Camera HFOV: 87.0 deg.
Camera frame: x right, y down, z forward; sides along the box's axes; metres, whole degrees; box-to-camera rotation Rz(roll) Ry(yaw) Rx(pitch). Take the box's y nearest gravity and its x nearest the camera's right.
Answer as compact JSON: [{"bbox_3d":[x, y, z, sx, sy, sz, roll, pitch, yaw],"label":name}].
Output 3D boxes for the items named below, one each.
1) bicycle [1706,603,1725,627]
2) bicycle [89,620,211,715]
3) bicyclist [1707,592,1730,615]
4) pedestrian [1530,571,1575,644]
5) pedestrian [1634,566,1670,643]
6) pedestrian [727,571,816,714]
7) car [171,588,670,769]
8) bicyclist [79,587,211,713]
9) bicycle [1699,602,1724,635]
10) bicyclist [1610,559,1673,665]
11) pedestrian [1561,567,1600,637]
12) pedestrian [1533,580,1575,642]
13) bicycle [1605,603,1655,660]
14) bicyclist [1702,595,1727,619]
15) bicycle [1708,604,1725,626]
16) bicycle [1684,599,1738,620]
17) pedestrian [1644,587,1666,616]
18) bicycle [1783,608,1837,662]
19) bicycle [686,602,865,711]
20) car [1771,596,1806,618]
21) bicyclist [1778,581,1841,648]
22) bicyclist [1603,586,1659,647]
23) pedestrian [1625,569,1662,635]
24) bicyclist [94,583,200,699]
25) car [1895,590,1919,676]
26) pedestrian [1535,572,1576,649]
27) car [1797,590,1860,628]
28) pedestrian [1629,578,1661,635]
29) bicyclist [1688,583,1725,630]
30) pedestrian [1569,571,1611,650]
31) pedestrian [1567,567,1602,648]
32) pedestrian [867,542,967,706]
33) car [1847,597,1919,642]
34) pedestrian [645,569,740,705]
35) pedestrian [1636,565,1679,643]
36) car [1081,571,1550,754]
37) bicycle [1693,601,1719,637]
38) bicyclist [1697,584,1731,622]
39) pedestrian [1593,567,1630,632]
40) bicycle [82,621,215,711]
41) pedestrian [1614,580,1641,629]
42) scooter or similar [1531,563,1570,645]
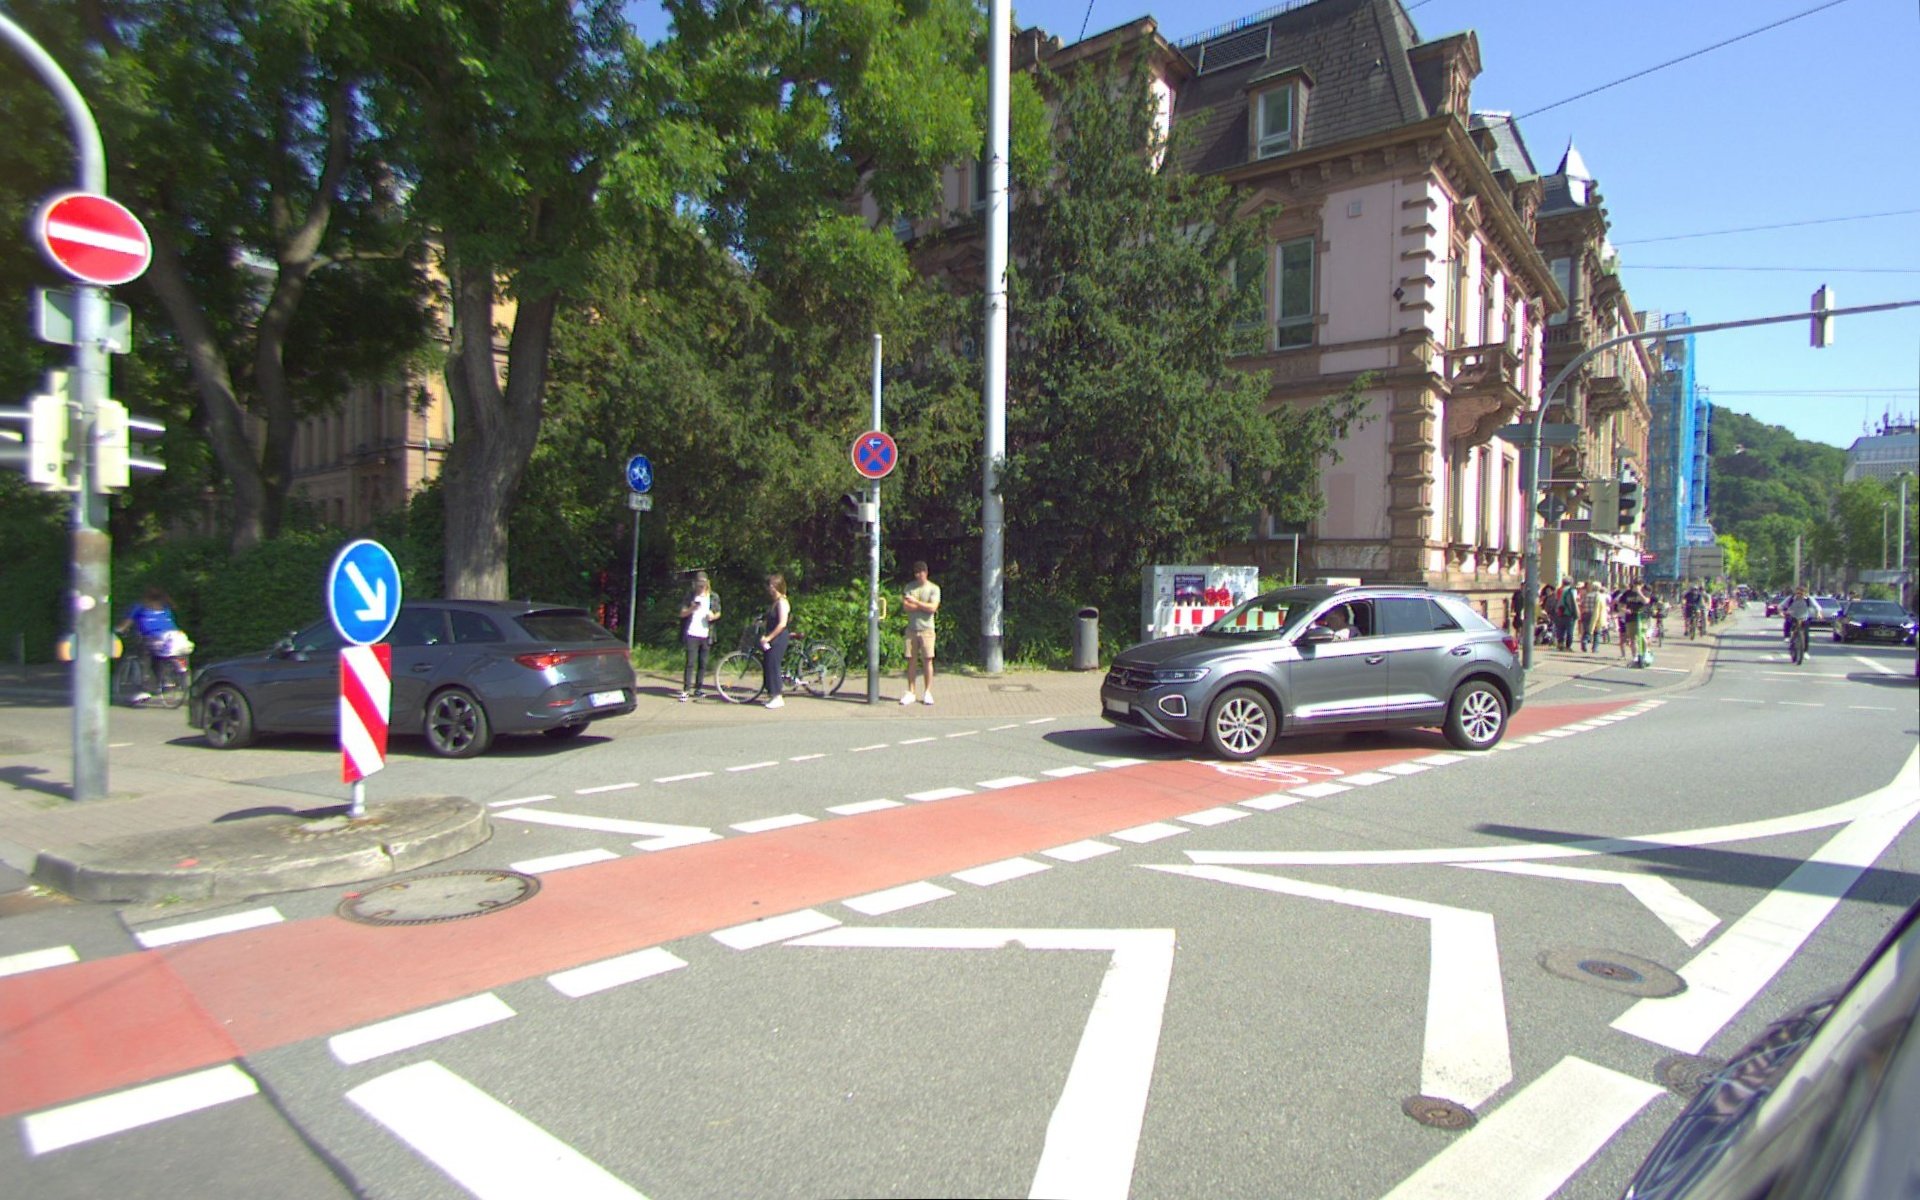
[{"bbox_3d":[35.228,0.685,47.189,0.640,1.096,2.463,3,1,37],"label":"bicycle"},{"bbox_3d":[-11.636,0.929,14.524,1.986,1.241,0.710,0,-1,31],"label":"bicycle"},{"bbox_3d":[38.519,0.180,51.392,0.908,1.096,1.216,3,1,37],"label":"bicyclist"},{"bbox_3d":[15.567,0.190,26.577,0.810,1.815,0.804,5,3,37],"label":"pedestrian"},{"bbox_3d":[19.060,0.119,27.875,0.659,2.038,0.690,5,2,37],"label":"pedestrian"},{"bbox_3d":[-2.452,0.518,13.220,0.673,1.730,0.881,3,6,39],"label":"pedestrian"},{"bbox_3d":[-5.337,0.675,10.220,4.222,1.509,1.991,1,0,14],"label":"car"},{"bbox_3d":[-11.629,0.674,14.453,1.080,1.699,1.159,0,-1,31],"label":"bicyclist"},{"bbox_3d":[26.080,0.622,35.117,0.640,1.096,2.463,3,1,37],"label":"bicycle"},{"bbox_3d":[13.617,0.229,20.232,0.939,2.039,0.819,3,1,37],"label":"bicyclist"},{"bbox_3d":[18.672,0.051,30.439,0.810,2.038,0.804,5,3,37],"label":"pedestrian"},{"bbox_3d":[16.430,0.300,28.007,0.810,1.622,0.804,5,3,37],"label":"pedestrian"},{"bbox_3d":[14.395,0.646,21.722,0.776,1.116,2.111,3,1,36],"label":"bicycle"},{"bbox_3d":[35.183,0.309,47.192,0.908,1.082,1.216,3,1,37],"label":"bicyclist"},{"bbox_3d":[38.443,0.744,51.419,0.640,1.096,2.463,3,1,37],"label":"bicycle"},{"bbox_3d":[43.918,0.524,59.208,2.488,1.096,0.634,3,2,43],"label":"bicycle"},{"bbox_3d":[40.104,0.078,58.389,0.908,1.620,1.216,3,1,37],"label":"pedestrian"},{"bbox_3d":[18.782,0.745,22.405,0.640,1.096,2.465,3,1,35],"label":"bicycle"},{"bbox_3d":[-2.482,0.714,13.723,2.230,1.219,0.804,-3,5,-30],"label":"bicycle"},{"bbox_3d":[62.121,0.552,75.885,1.990,1.594,3.943,0,0,39],"label":"car"},{"bbox_3d":[18.792,0.300,22.425,0.907,1.411,1.217,3,1,35],"label":"bicyclist"},{"bbox_3d":[14.378,0.334,21.680,0.919,1.234,0.959,3,1,37],"label":"bicyclist"},{"bbox_3d":[21.879,0.051,32.384,0.810,2.038,0.804,5,3,37],"label":"pedestrian"},{"bbox_3d":[-11.624,0.562,14.480,1.048,1.573,0.771,2,0,24],"label":"bicyclist"},{"bbox_3d":[17.774,0.581,17.468,1.792,1.520,4.440,0,0,35],"label":"car"},{"bbox_3d":[14.192,0.229,24.103,0.703,1.774,0.891,2,2,36],"label":"pedestrian"},{"bbox_3d":[38.495,0.408,44.939,1.990,1.594,3.943,0,0,39],"label":"car"},{"bbox_3d":[25.322,0.221,37.434,0.810,2.038,0.804,5,3,37],"label":"pedestrian"},{"bbox_3d":[24.293,0.199,32.927,0.908,1.454,1.216,3,1,37],"label":"bicyclist"},{"bbox_3d":[14.741,0.229,23.669,0.703,1.791,0.891,3,1,36],"label":"pedestrian"},{"bbox_3d":[15.147,0.172,24.542,0.633,1.915,0.891,1,0,36],"label":"pedestrian"},{"bbox_3d":[-0.559,0.285,13.290,0.773,2.039,1.045,2,1,38],"label":"pedestrian"},{"bbox_3d":[29.750,0.619,32.342,1.886,1.347,3.944,1,0,38],"label":"car"},{"bbox_3d":[-3.740,0.486,14.188,1.050,1.802,0.695,1,4,28],"label":"pedestrian"},{"bbox_3d":[19.072,0.101,27.676,0.810,2.038,0.804,5,3,37],"label":"pedestrian"},{"bbox_3d":[3.400,0.574,9.951,3.909,1.535,1.940,2,0,-15],"label":"car"},{"bbox_3d":[24.345,0.603,33.028,0.640,1.096,2.463,3,1,37],"label":"bicycle"},{"bbox_3d":[26.047,0.104,34.973,0.908,1.249,1.216,3,1,37],"label":"bicyclist"},{"bbox_3d":[21.195,-0.015,32.918,0.810,2.038,0.804,5,3,37],"label":"pedestrian"},{"bbox_3d":[-11.671,0.911,14.533,2.227,1.179,0.611,0,-1,27],"label":"bicycle"},{"bbox_3d":[23.927,0.153,36.279,0.705,1.715,0.619,3,2,41],"label":"pedestrian"},{"bbox_3d":[15.137,0.088,25.945,0.691,2.039,1.081,3,1,37],"label":"scooter or similar"}]
